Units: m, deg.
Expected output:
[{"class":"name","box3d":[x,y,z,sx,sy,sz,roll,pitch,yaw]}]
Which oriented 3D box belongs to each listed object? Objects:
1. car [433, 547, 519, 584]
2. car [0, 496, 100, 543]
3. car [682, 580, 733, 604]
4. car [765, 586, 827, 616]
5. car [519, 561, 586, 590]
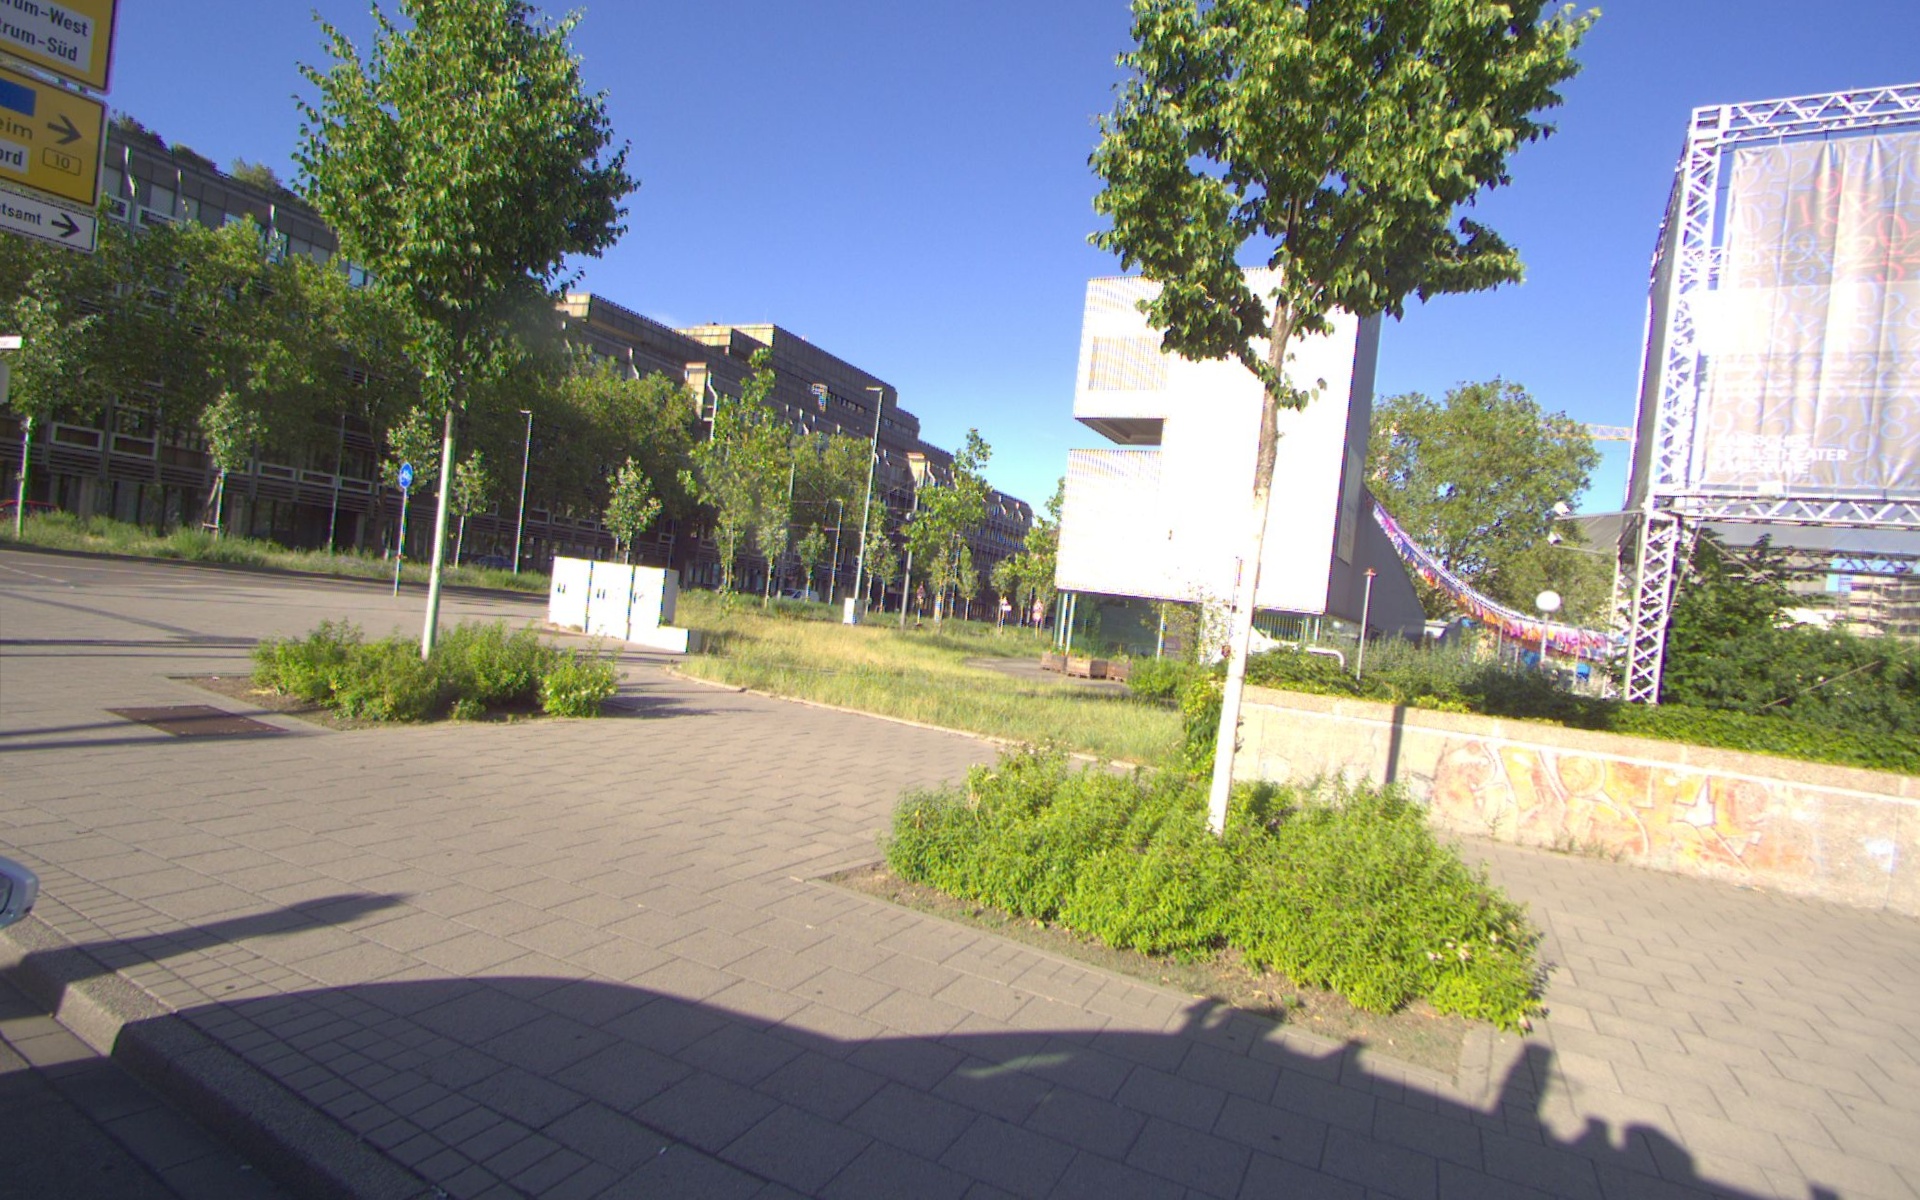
[{"class":"car","box3d":[-31.776,-2.227,66.157,1.964,1.699,4.871,8,-2,23]},{"class":"car","box3d":[-38.595,-3.358,41.787,1.813,1.504,3.878,3,-2,24]},{"class":"car","box3d":[-21.843,-0.700,87.099,1.834,1.615,4.274,6,-2,26]},{"class":"car","box3d":[-13.877,0.096,85.716,2.226,2.038,5.705,4,-2,25]},{"class":"car","box3d":[-28.995,-1.726,71.664,1.966,1.539,3.995,7,0,29]}]
